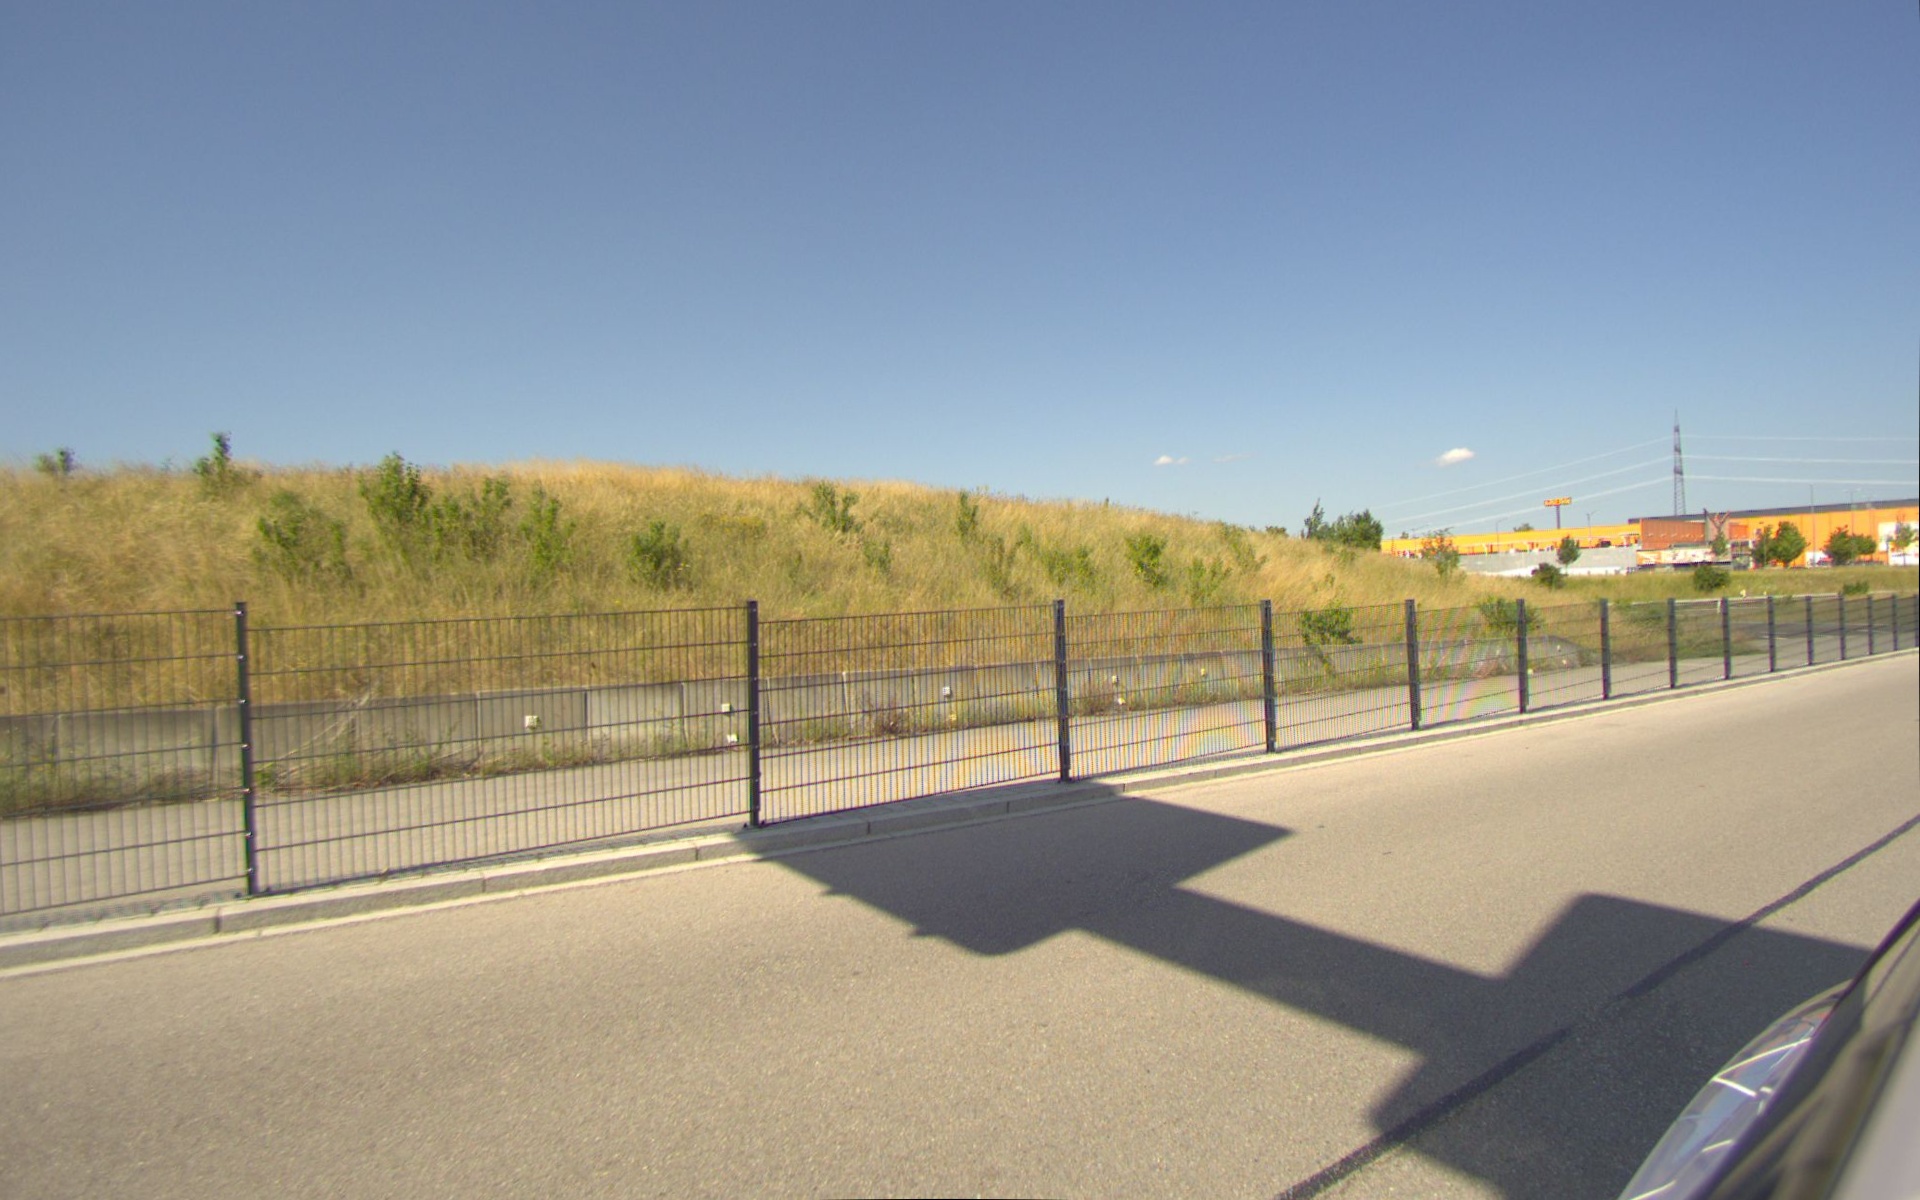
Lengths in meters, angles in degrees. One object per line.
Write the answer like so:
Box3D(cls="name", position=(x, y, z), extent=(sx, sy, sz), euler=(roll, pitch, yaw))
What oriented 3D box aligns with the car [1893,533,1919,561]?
Box3D(cls="car", position=(93.670, -5.192, 97.993), extent=(1.966, 2.581, 4.626), euler=(-1, -1, -42))
